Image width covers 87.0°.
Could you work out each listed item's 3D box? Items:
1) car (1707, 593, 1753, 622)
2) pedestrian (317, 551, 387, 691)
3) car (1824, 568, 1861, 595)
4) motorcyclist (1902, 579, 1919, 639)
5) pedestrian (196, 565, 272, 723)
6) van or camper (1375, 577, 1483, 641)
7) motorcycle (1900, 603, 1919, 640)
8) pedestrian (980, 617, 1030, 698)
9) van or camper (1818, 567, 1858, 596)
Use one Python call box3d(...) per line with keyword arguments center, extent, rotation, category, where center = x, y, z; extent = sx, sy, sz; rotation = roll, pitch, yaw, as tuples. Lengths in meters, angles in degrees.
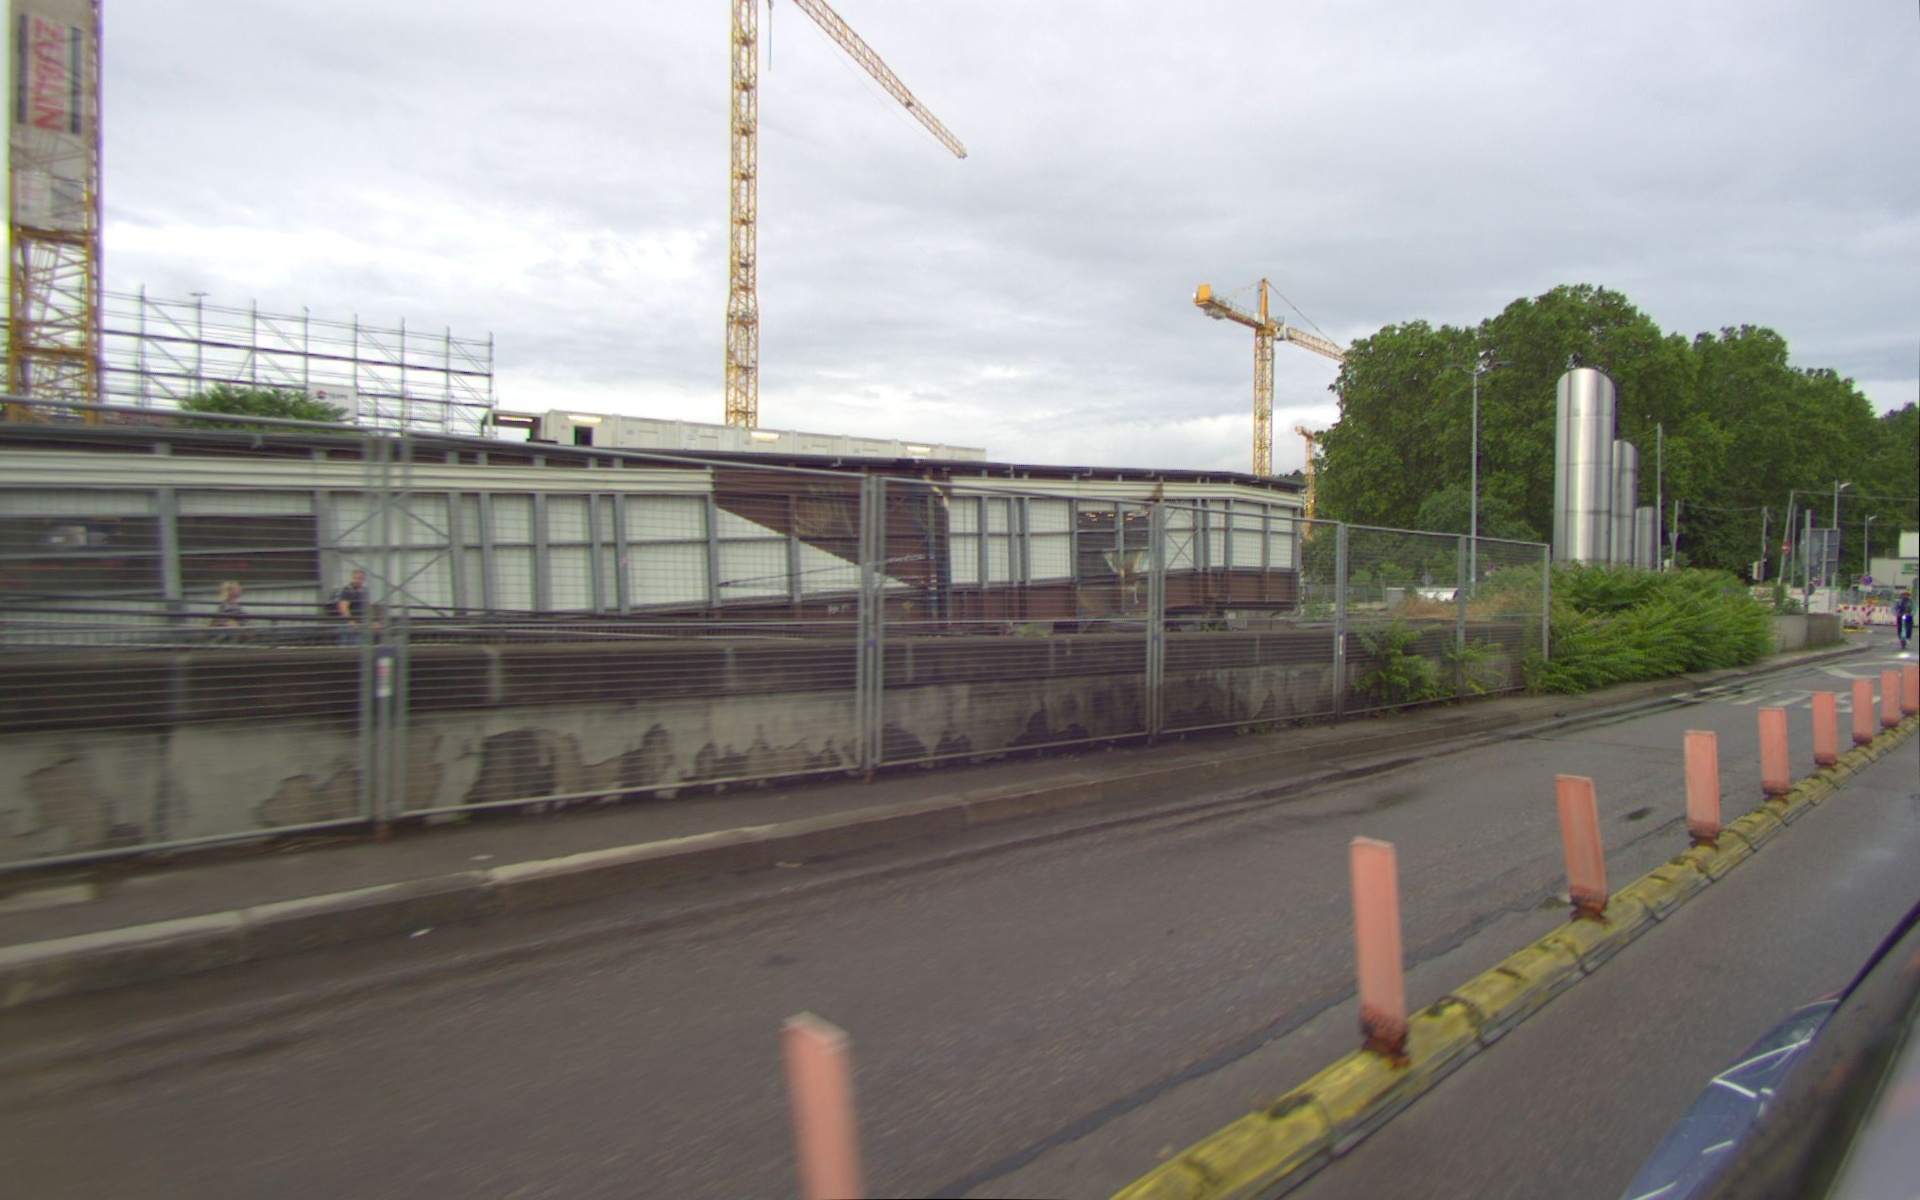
box3d(center=(47.264, 0.466, 62.113), extent=(1.992, 1.657, 4.128), rotation=(3, 1, 40), category="car")
box3d(center=(-9.237, 0.310, 15.365), extent=(0.752, 2.039, 0.865), rotation=(0, -1, -43), category="pedestrian")
box3d(center=(74.454, -1.543, 85.323), extent=(4.121, 2.092, 1.995), rotation=(2, 1, -45), category="car")
box3d(center=(33.100, 0.325, 34.927), extent=(0.577, 2.062, 0.725), rotation=(2, 1, -42), category="motorcyclist")
box3d(center=(-9.786, 0.572, 13.638), extent=(0.752, 2.039, 0.779), rotation=(0, -1, -43), category="pedestrian")
box3d(center=(19.834, 0.333, 43.170), extent=(2.346, 2.432, 6.050), rotation=(3, 1, 8), category="van or camper")
box3d(center=(33.060, 0.750, 34.912), extent=(2.123, 1.244, 0.729), rotation=(2, 1, -42), category="motorcycle")
box3d(center=(1.078, 1.339, 24.069), extent=(0.997, 1.855, 0.672), rotation=(0, 0, -42), category="pedestrian")
box3d(center=(70.121, -1.482, 80.801), extent=(2.118, 2.054, 4.933), rotation=(3, 1, 43), category="van or camper")
